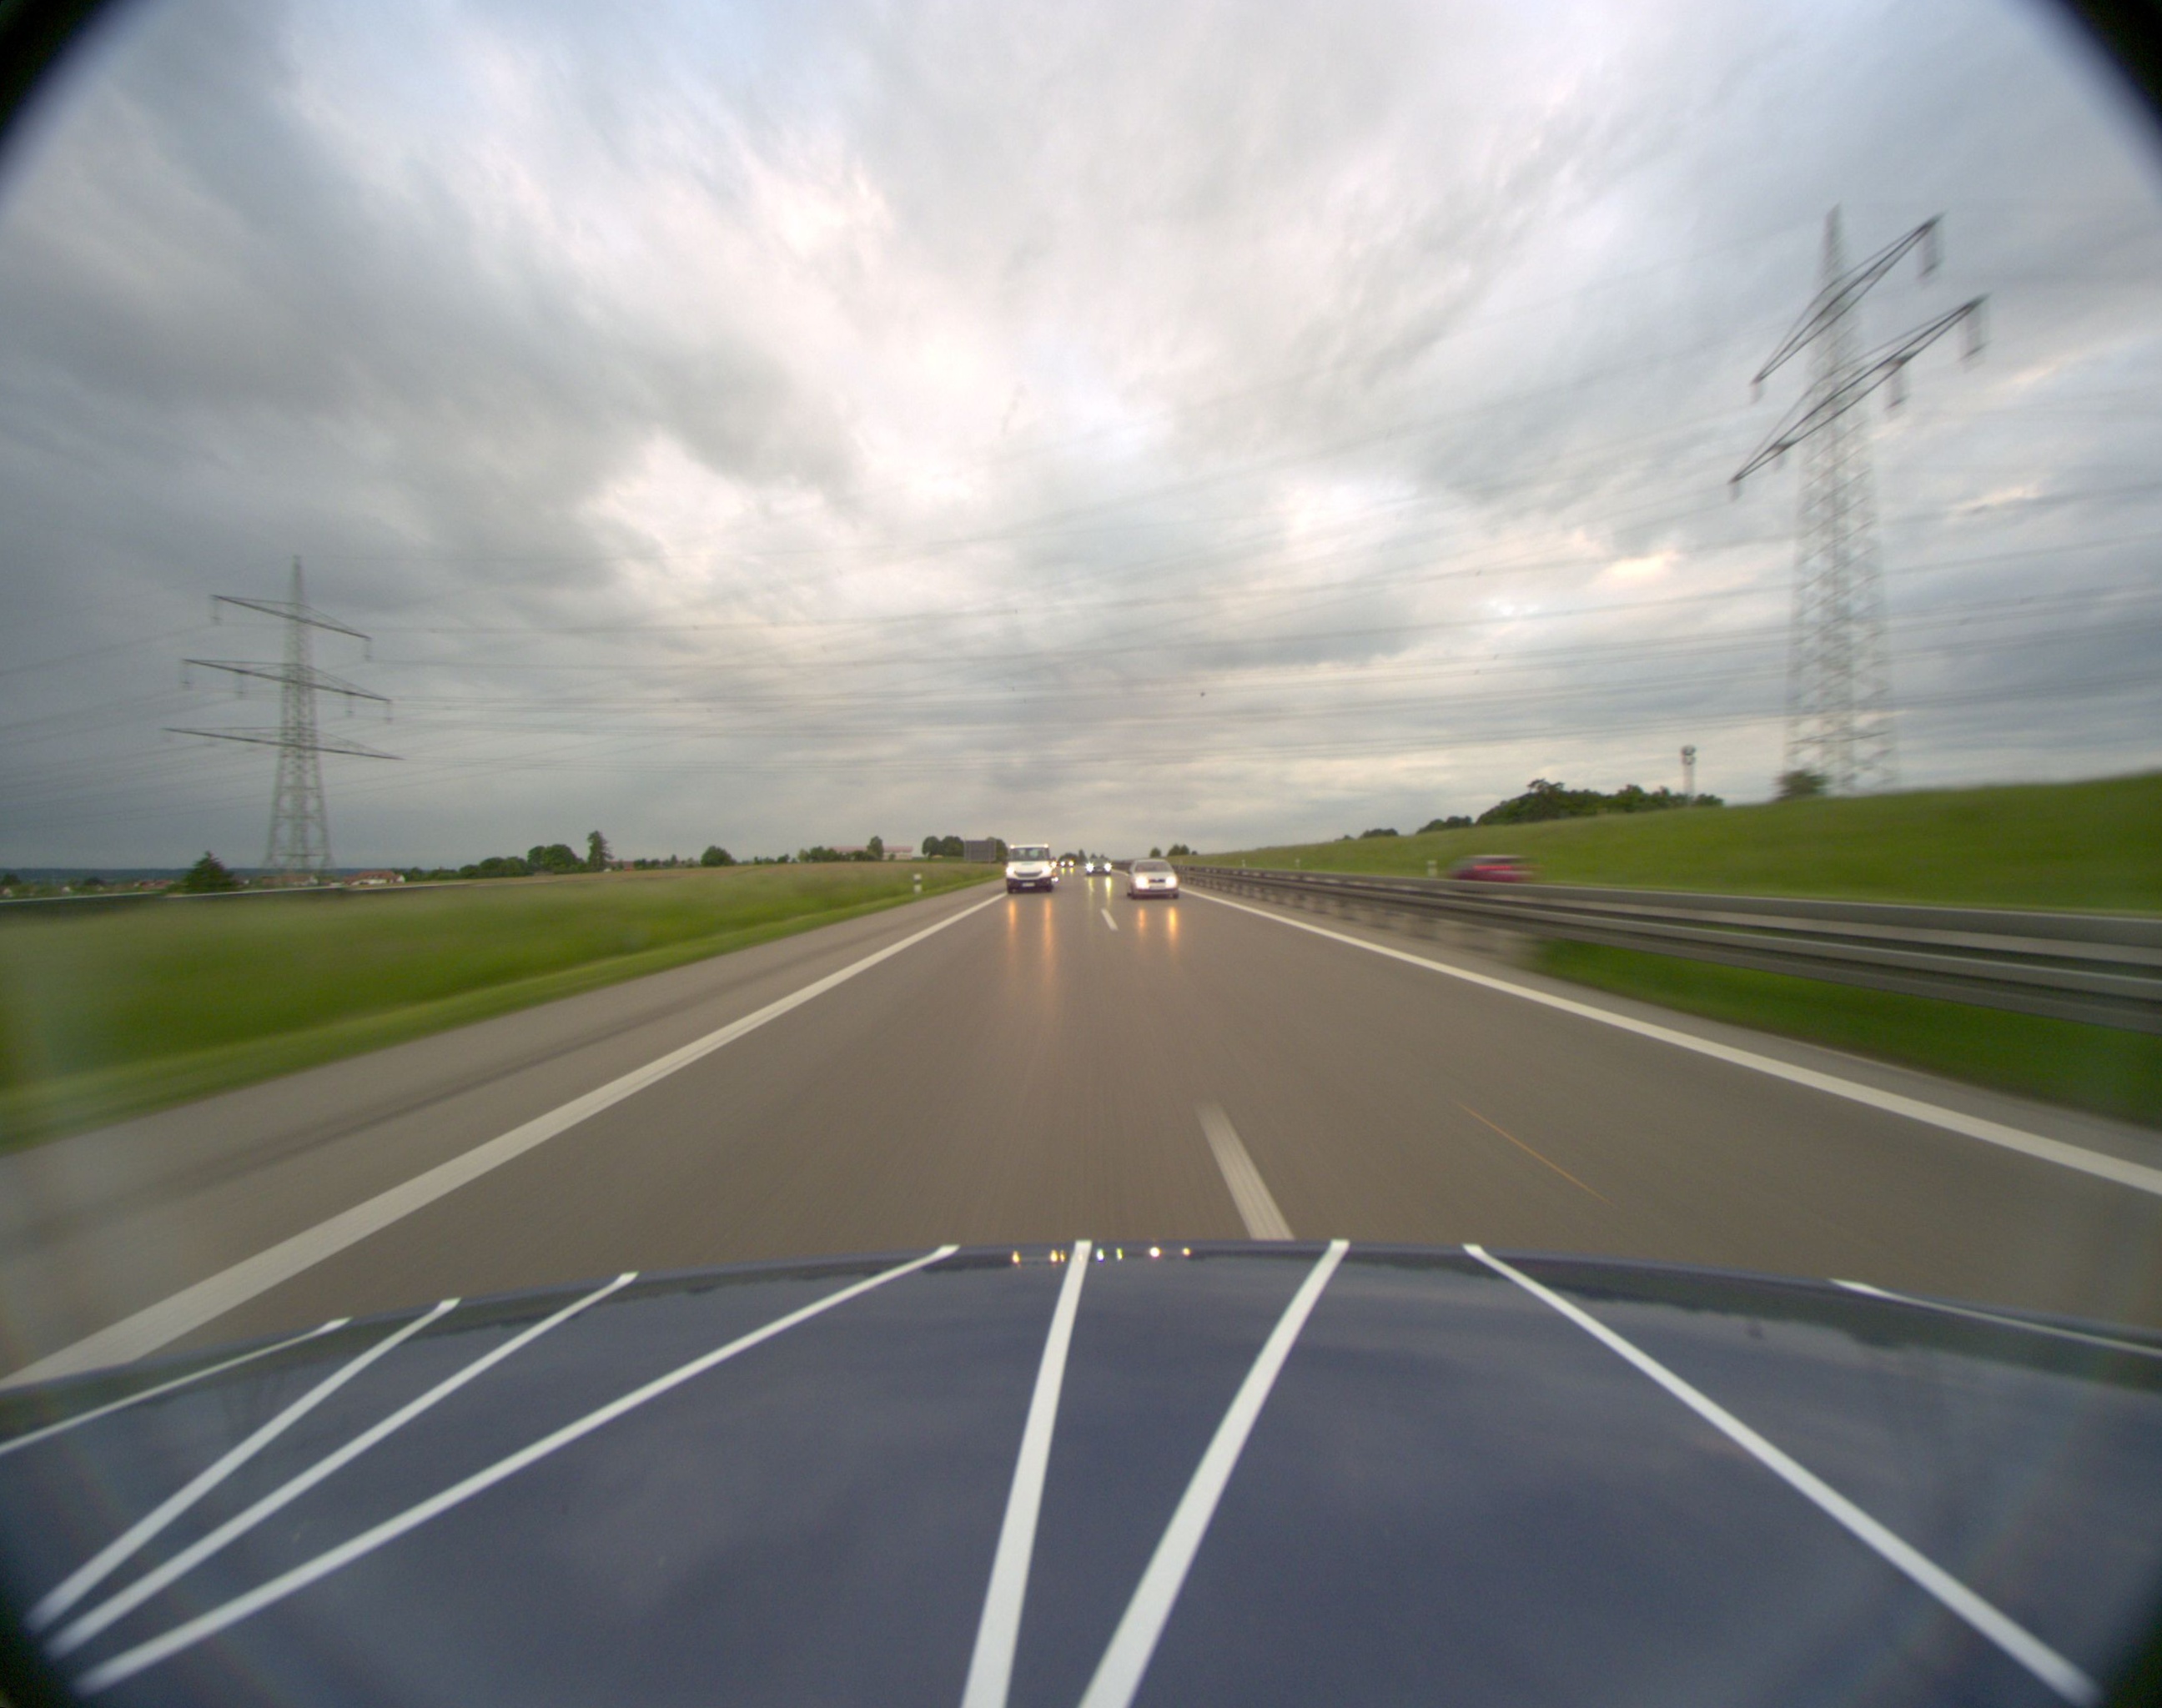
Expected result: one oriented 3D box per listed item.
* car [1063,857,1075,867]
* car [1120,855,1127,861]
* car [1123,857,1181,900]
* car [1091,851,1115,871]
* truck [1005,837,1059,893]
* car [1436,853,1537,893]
[{"bbox_3d":[-2.291,1.470,139.572,1.808,1.619,3.901,-1,0,-6],"label":"car"},{"bbox_3d":[11.551,1.089,206.913,1.769,1.473,5.333,-2,0,0],"label":"car"},{"bbox_3d":[2.519,0.843,27.803,1.592,1.381,4.600,0,0,-1],"label":"car"},{"bbox_3d":[1.835,0.559,64.586,1.951,1.620,4.535,-1,0,0],"label":"car"},{"bbox_3d":[-2.232,0.494,36.667,2.177,2.346,7.695,-2,0,-1],"label":"truck"},{"bbox_3d":[15.853,0.702,29.973,1.532,1.425,4.434,-2,0,0],"label":"car"}]
